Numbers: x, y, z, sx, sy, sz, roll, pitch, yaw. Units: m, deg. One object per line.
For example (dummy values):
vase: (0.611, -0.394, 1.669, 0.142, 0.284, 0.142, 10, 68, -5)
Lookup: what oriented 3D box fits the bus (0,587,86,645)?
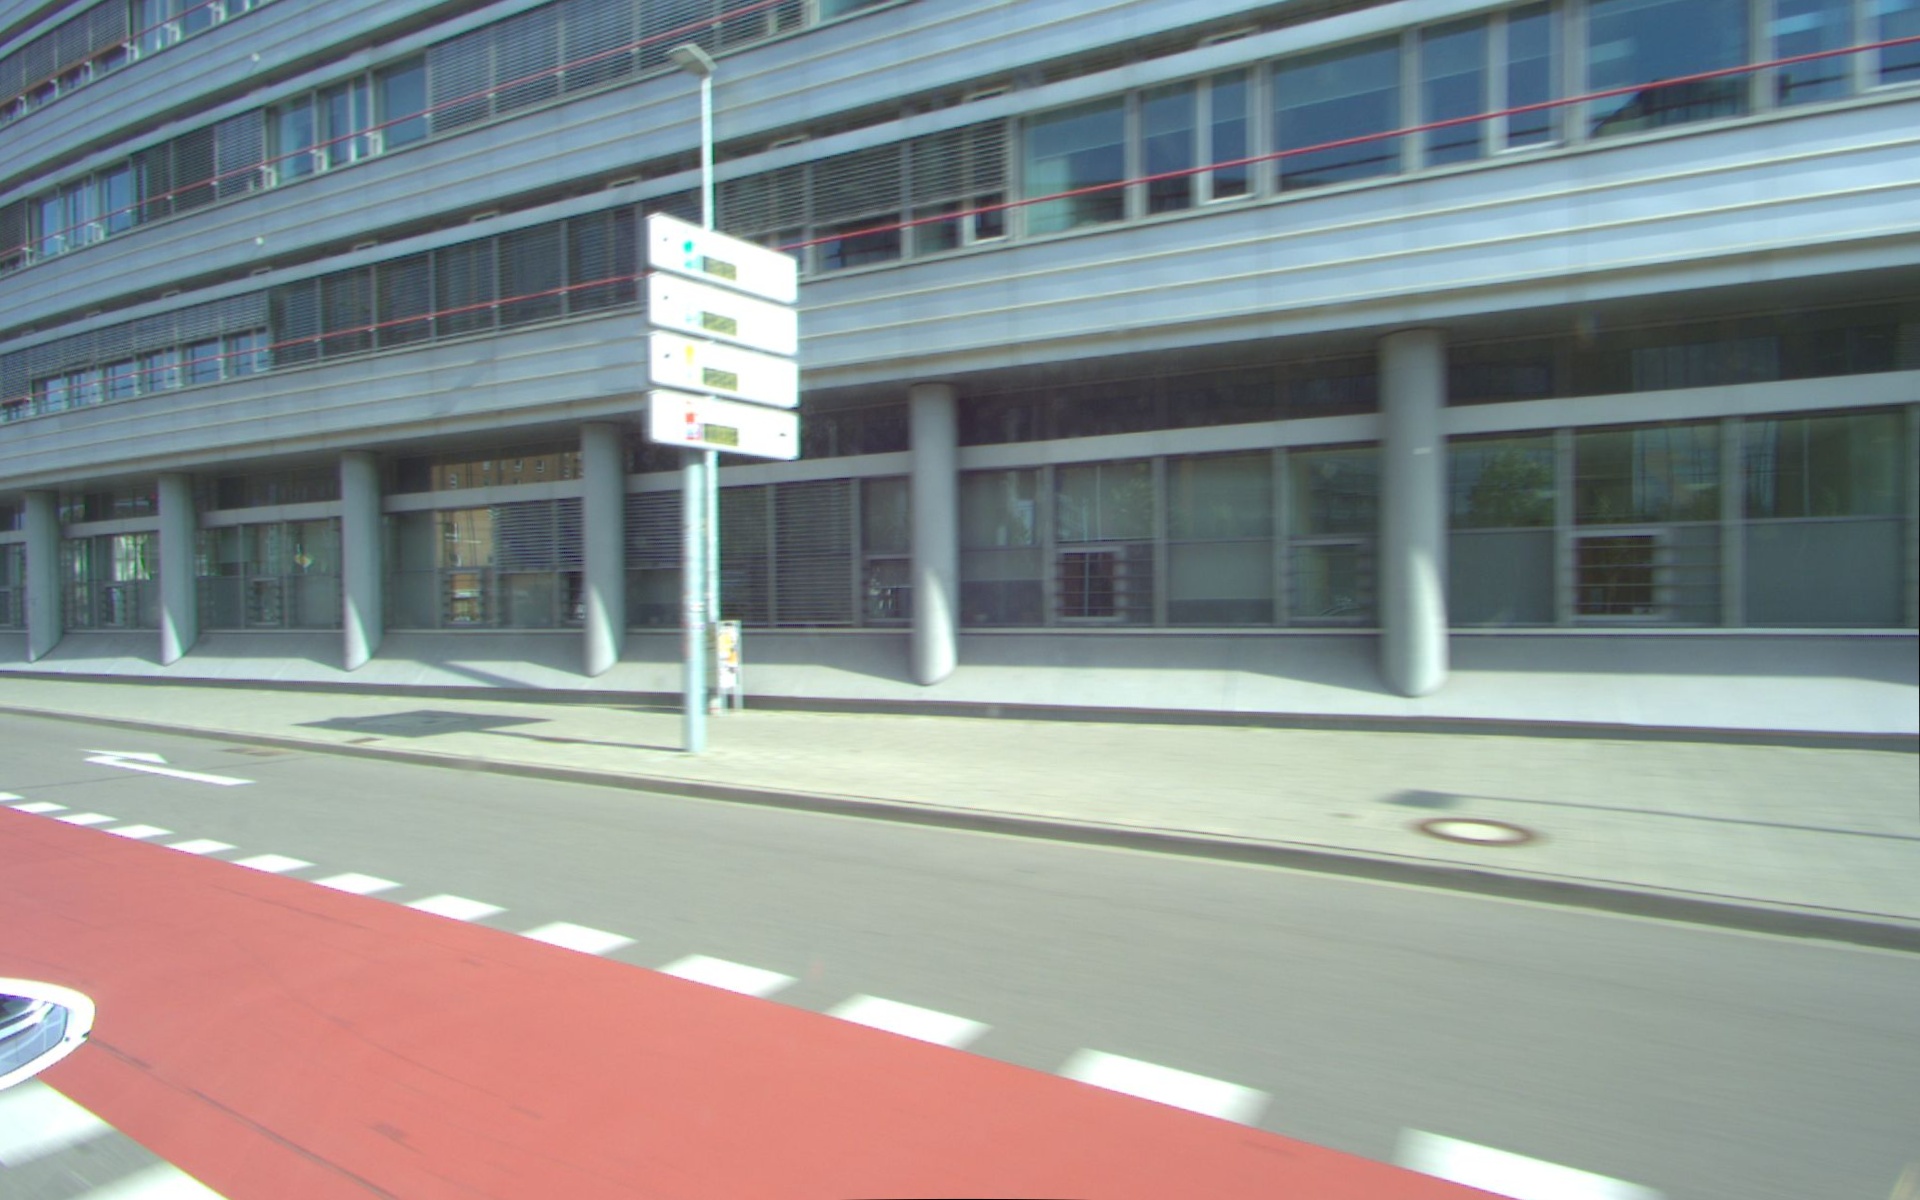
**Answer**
bus: (-66.731, 1.049, 63.570, 2.816, 3.859, 17.628, -2, -1, 21)
